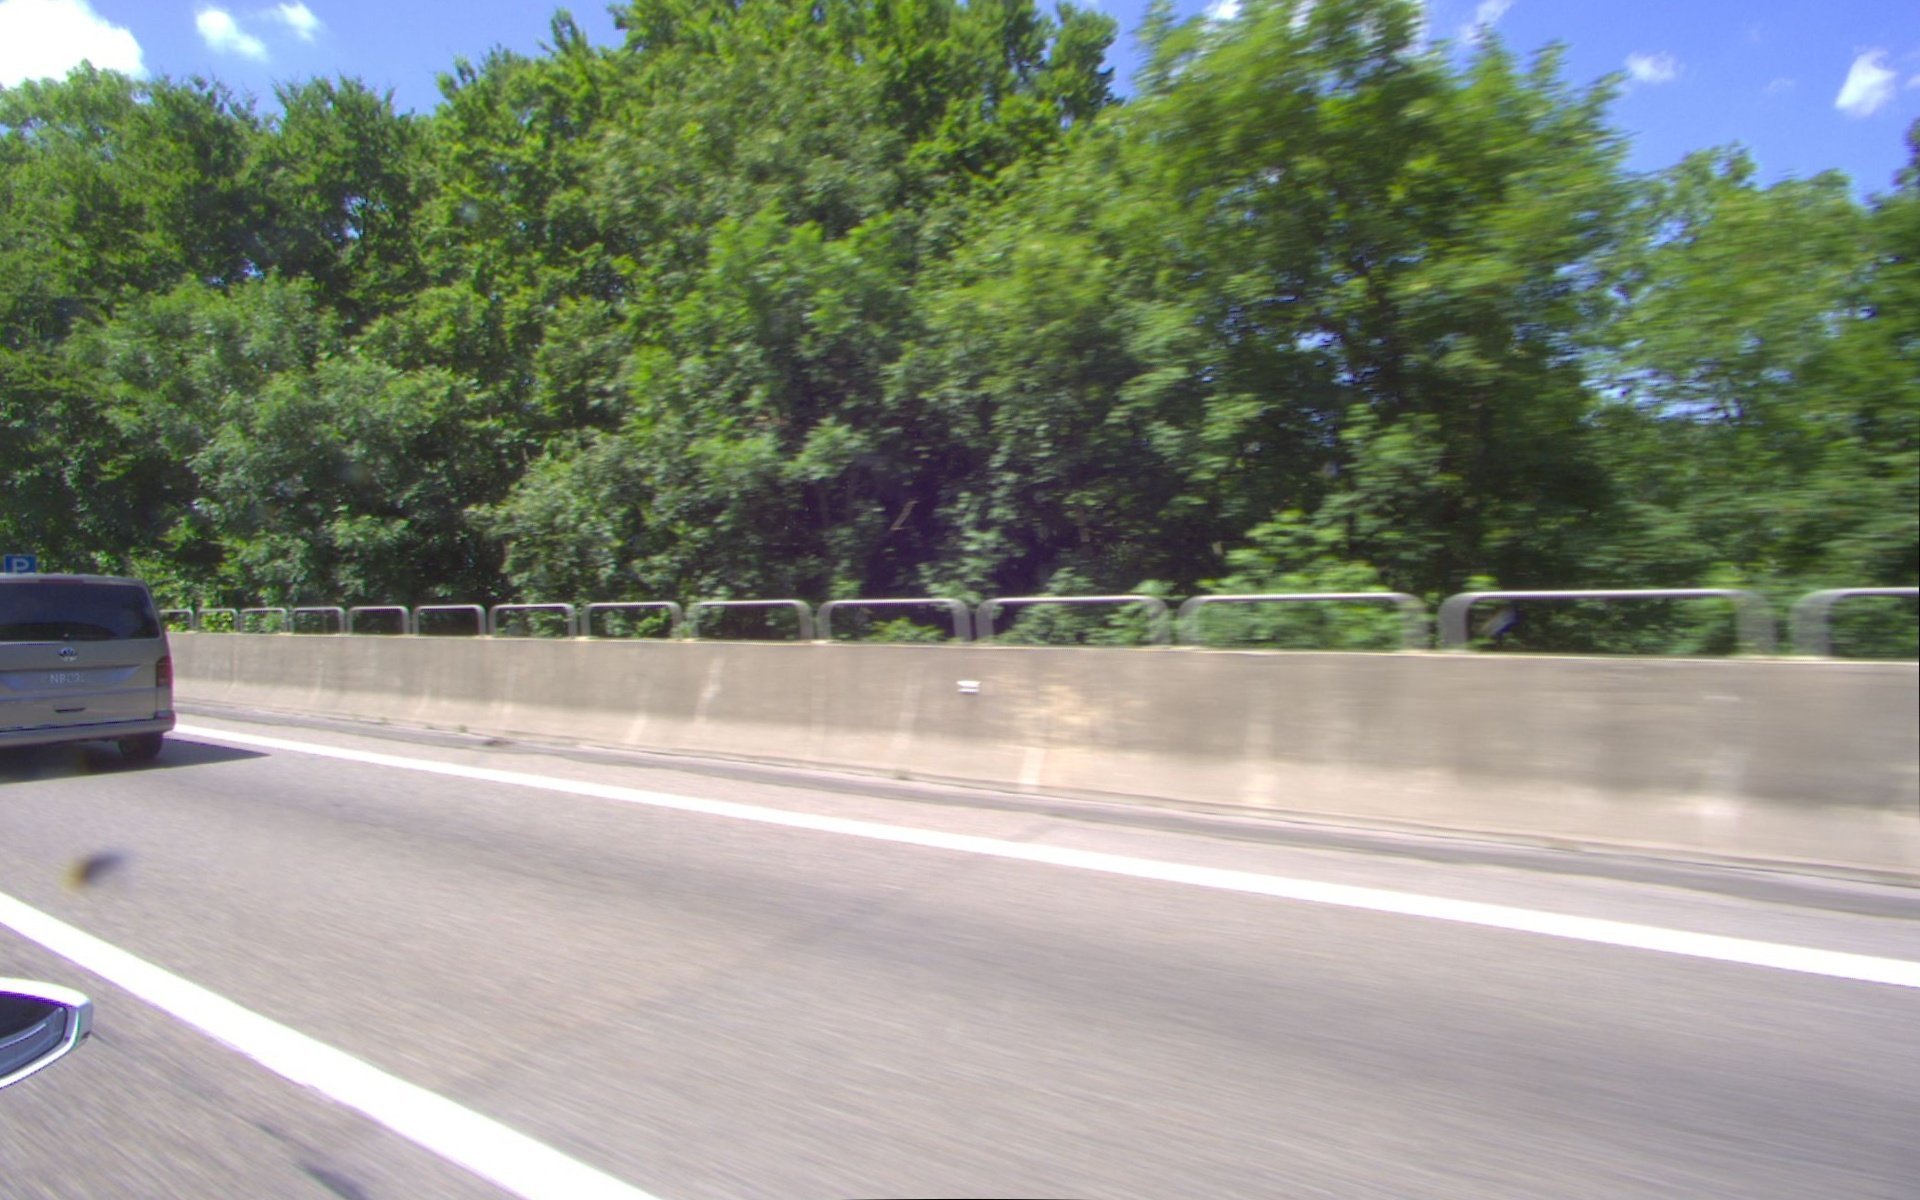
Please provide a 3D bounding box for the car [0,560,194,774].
[{"bbox_3d":[-10.404,0.653,10.897,4.630,1.956,1.936,-1,-1,34],"label":"car"}]
